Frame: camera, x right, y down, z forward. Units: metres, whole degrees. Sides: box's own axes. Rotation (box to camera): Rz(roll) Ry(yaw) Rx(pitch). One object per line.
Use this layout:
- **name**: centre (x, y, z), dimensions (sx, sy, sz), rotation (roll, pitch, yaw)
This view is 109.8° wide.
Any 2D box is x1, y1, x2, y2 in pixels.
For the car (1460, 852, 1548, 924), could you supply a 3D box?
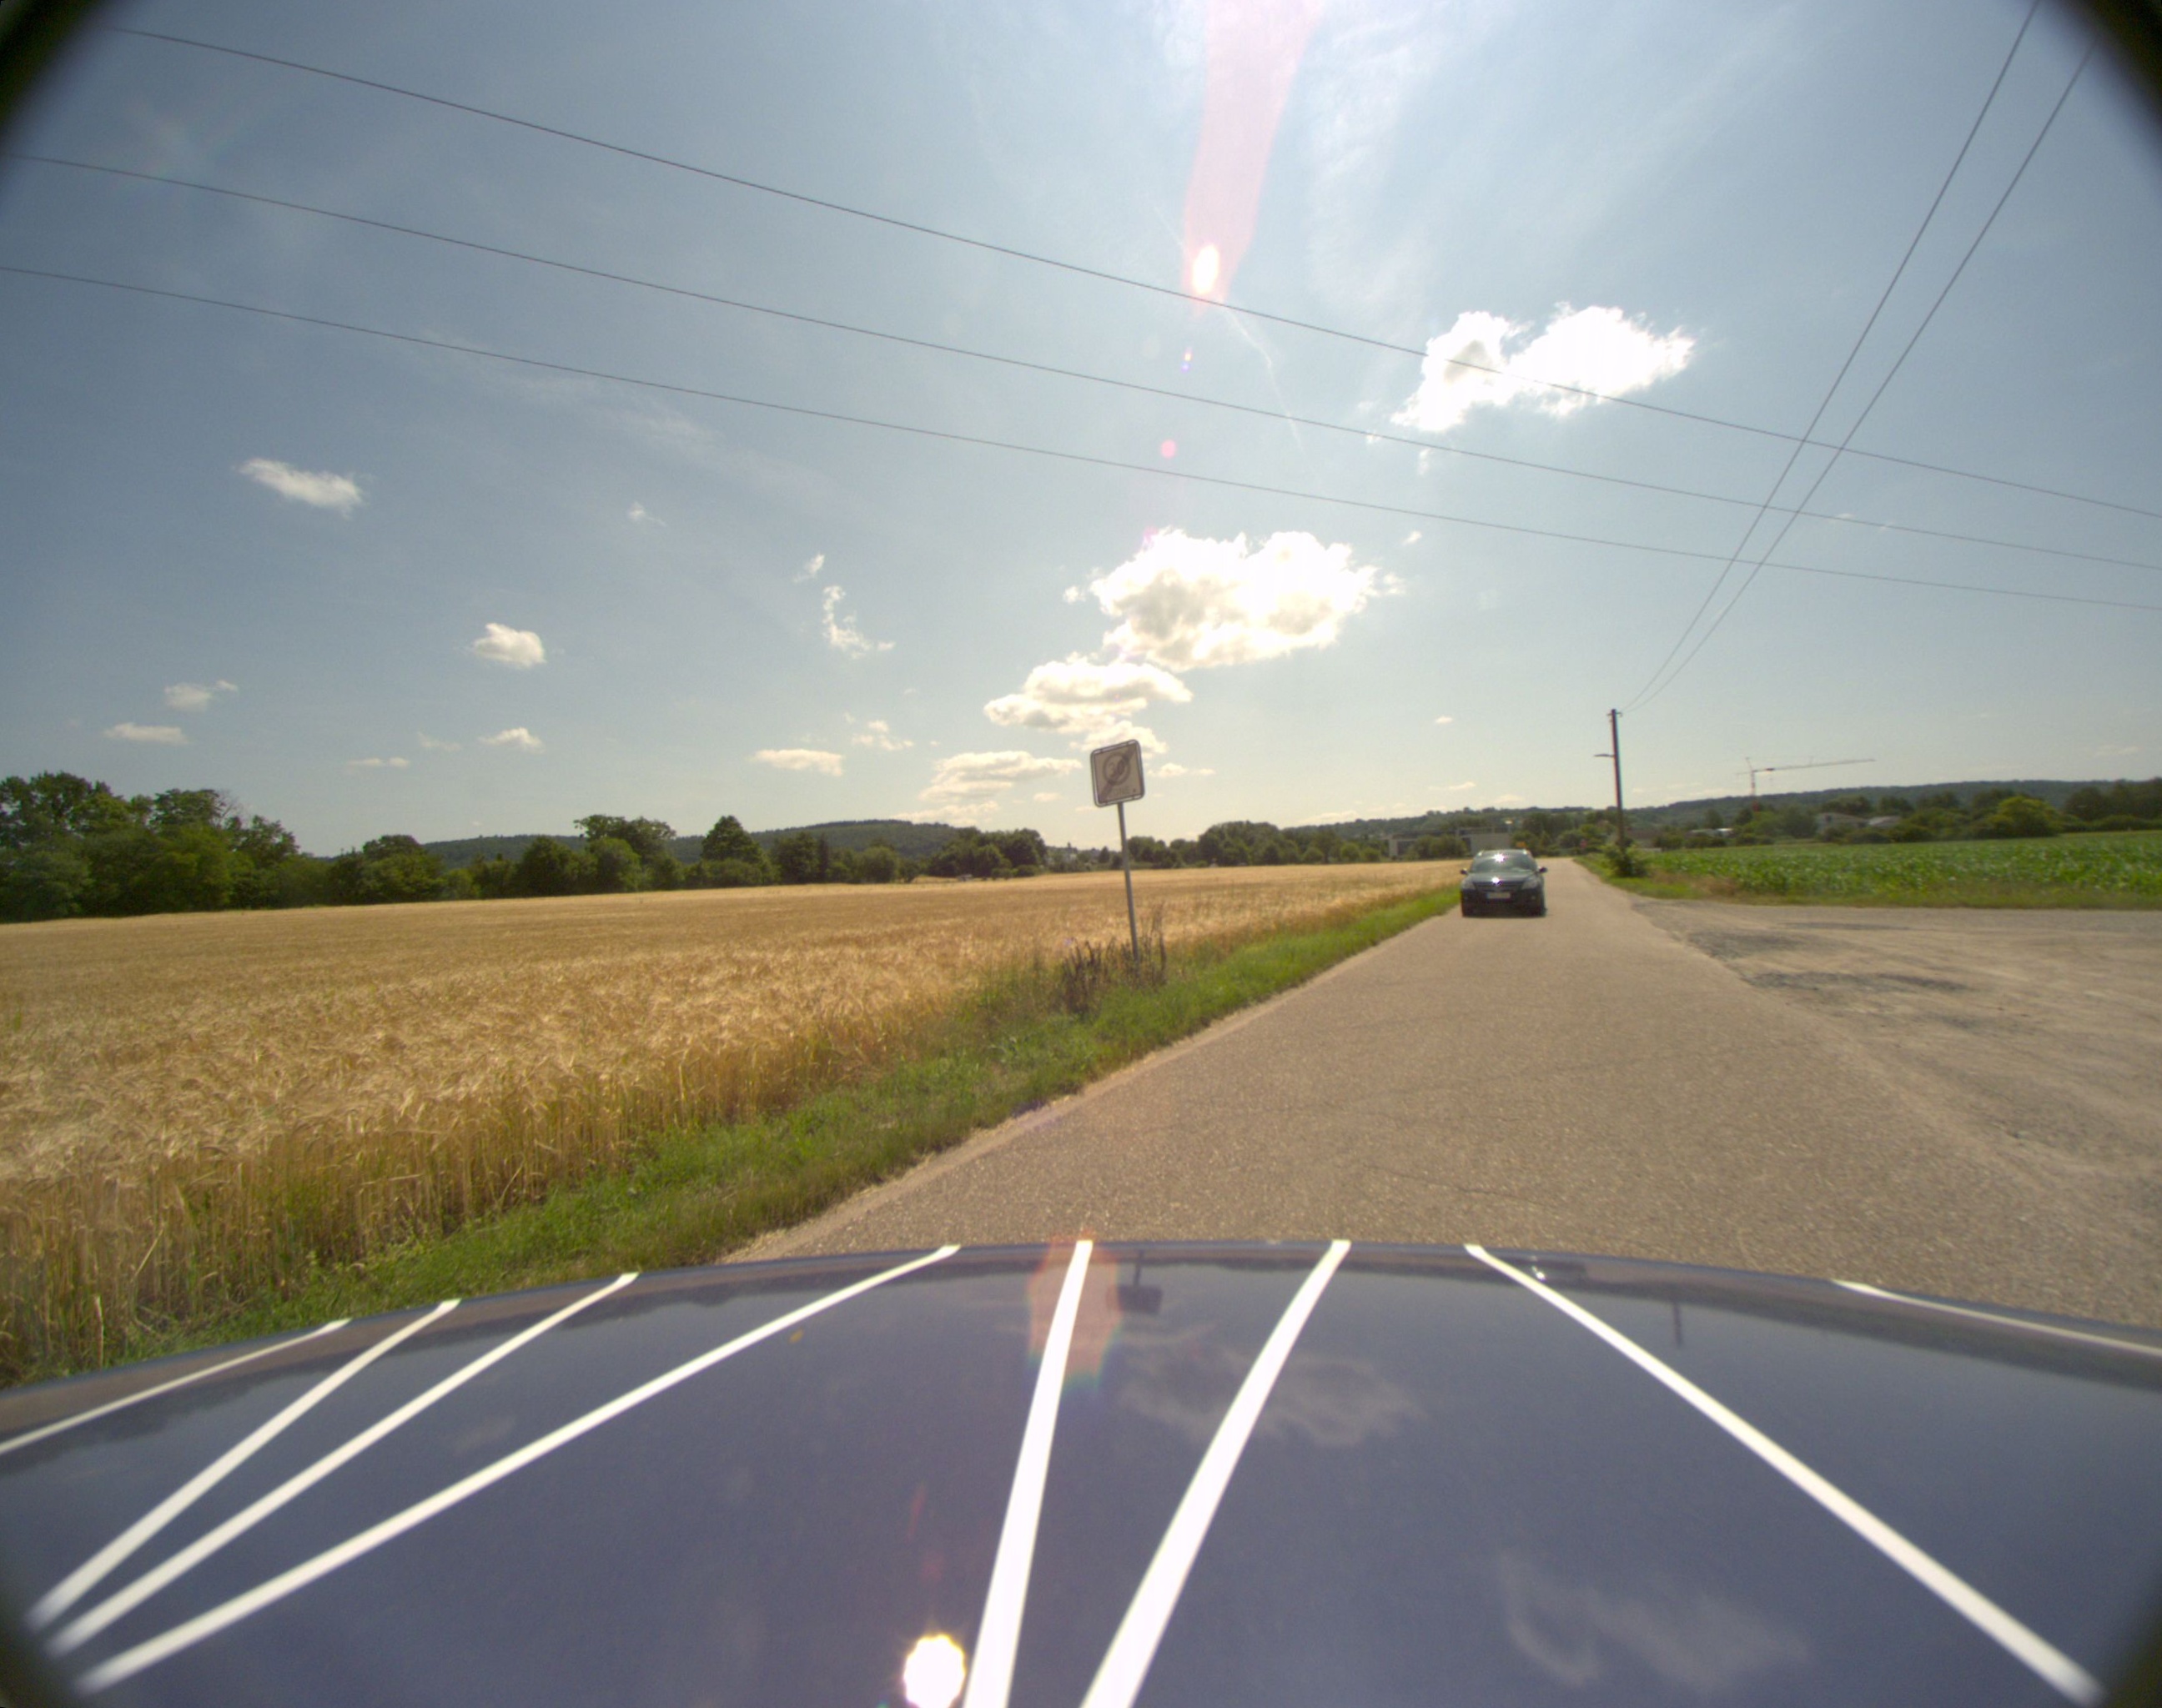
- **car**: centre (11.239, 0.812, 20.045), dimensions (1.745, 1.669, 4.264), rotation (-2, -1, 32)
